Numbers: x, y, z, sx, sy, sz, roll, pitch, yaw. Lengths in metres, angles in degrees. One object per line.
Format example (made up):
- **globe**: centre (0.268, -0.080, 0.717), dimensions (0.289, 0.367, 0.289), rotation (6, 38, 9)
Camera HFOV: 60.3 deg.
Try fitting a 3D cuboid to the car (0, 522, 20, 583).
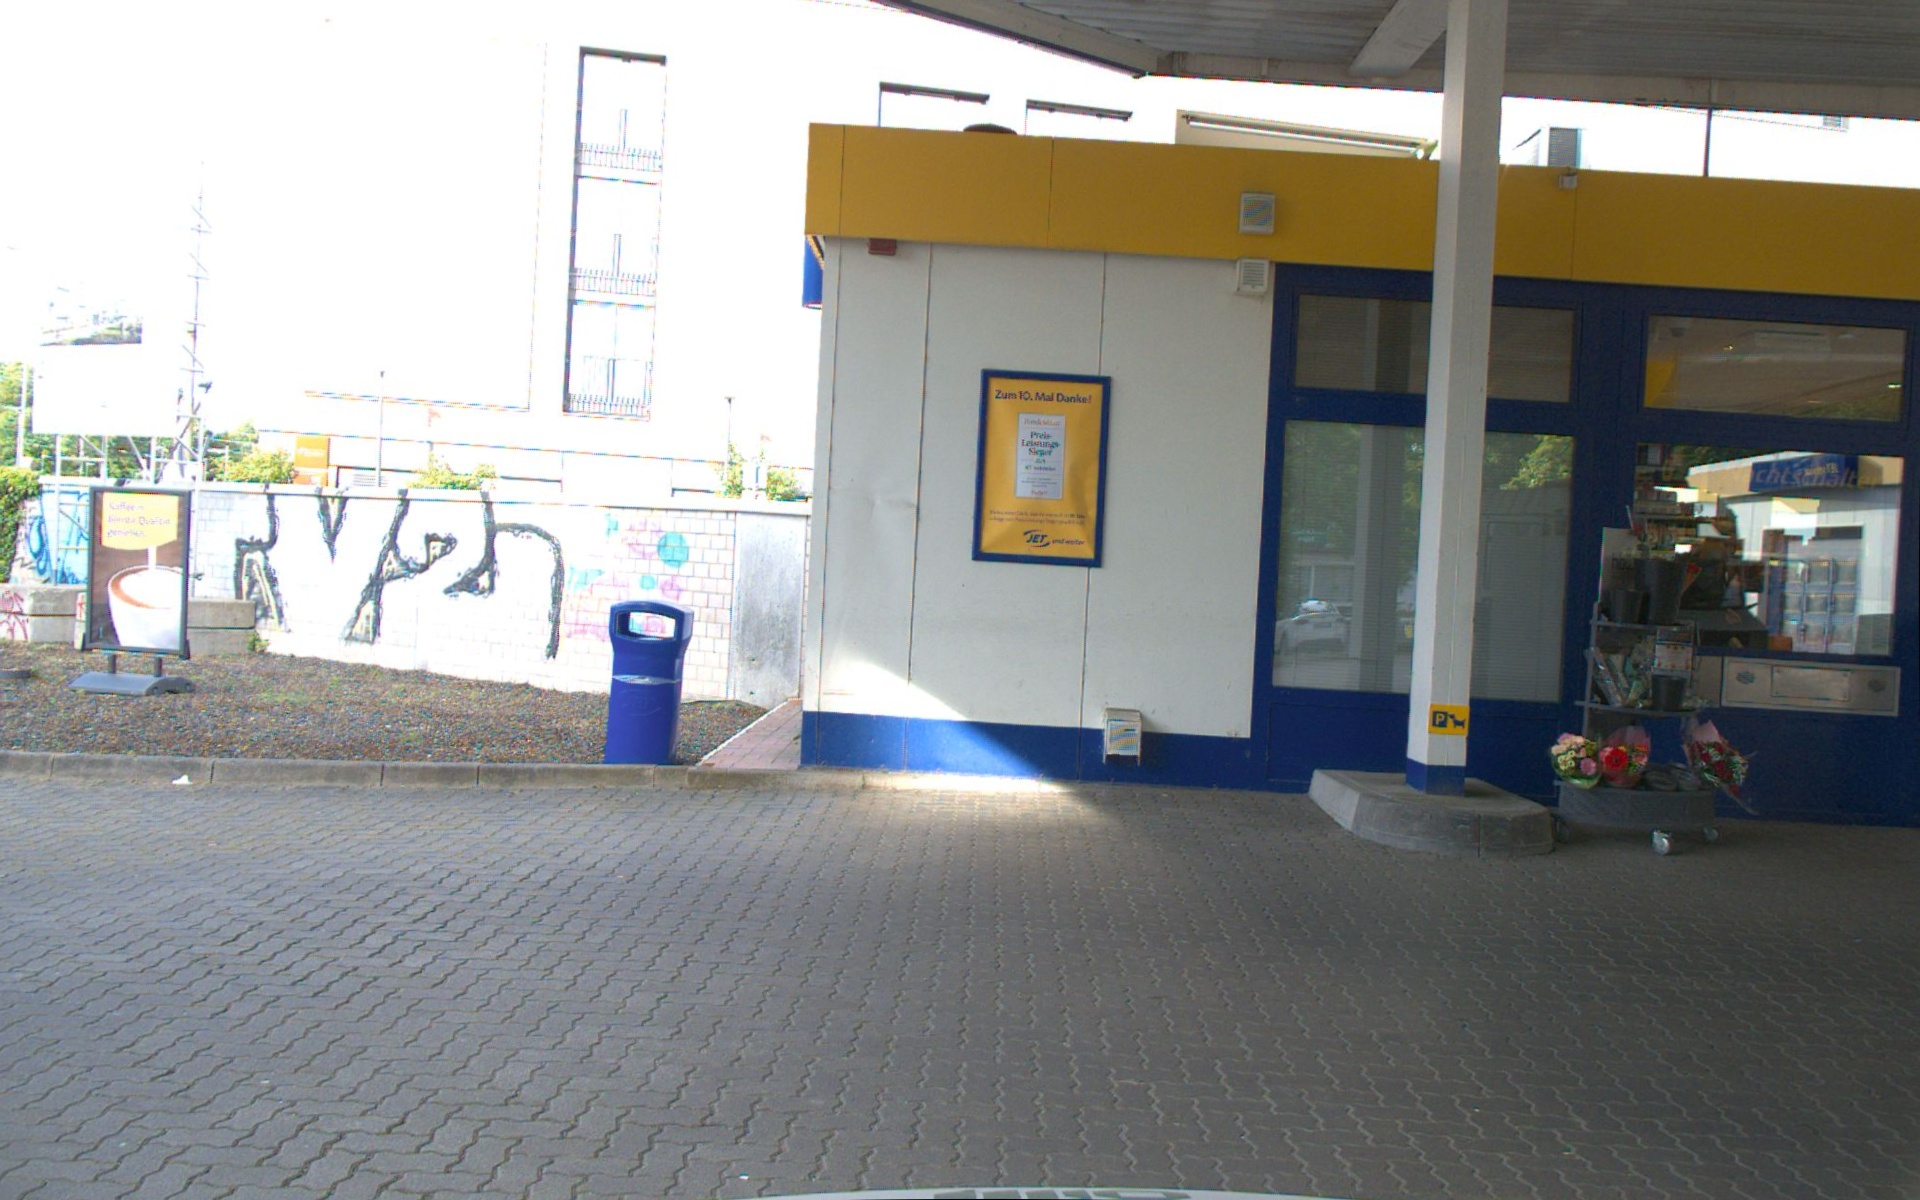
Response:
- **car**: centre (-24.116, -1.184, 39.657), dimensions (1.721, 1.494, 4.549), rotation (3, 1, -17)
